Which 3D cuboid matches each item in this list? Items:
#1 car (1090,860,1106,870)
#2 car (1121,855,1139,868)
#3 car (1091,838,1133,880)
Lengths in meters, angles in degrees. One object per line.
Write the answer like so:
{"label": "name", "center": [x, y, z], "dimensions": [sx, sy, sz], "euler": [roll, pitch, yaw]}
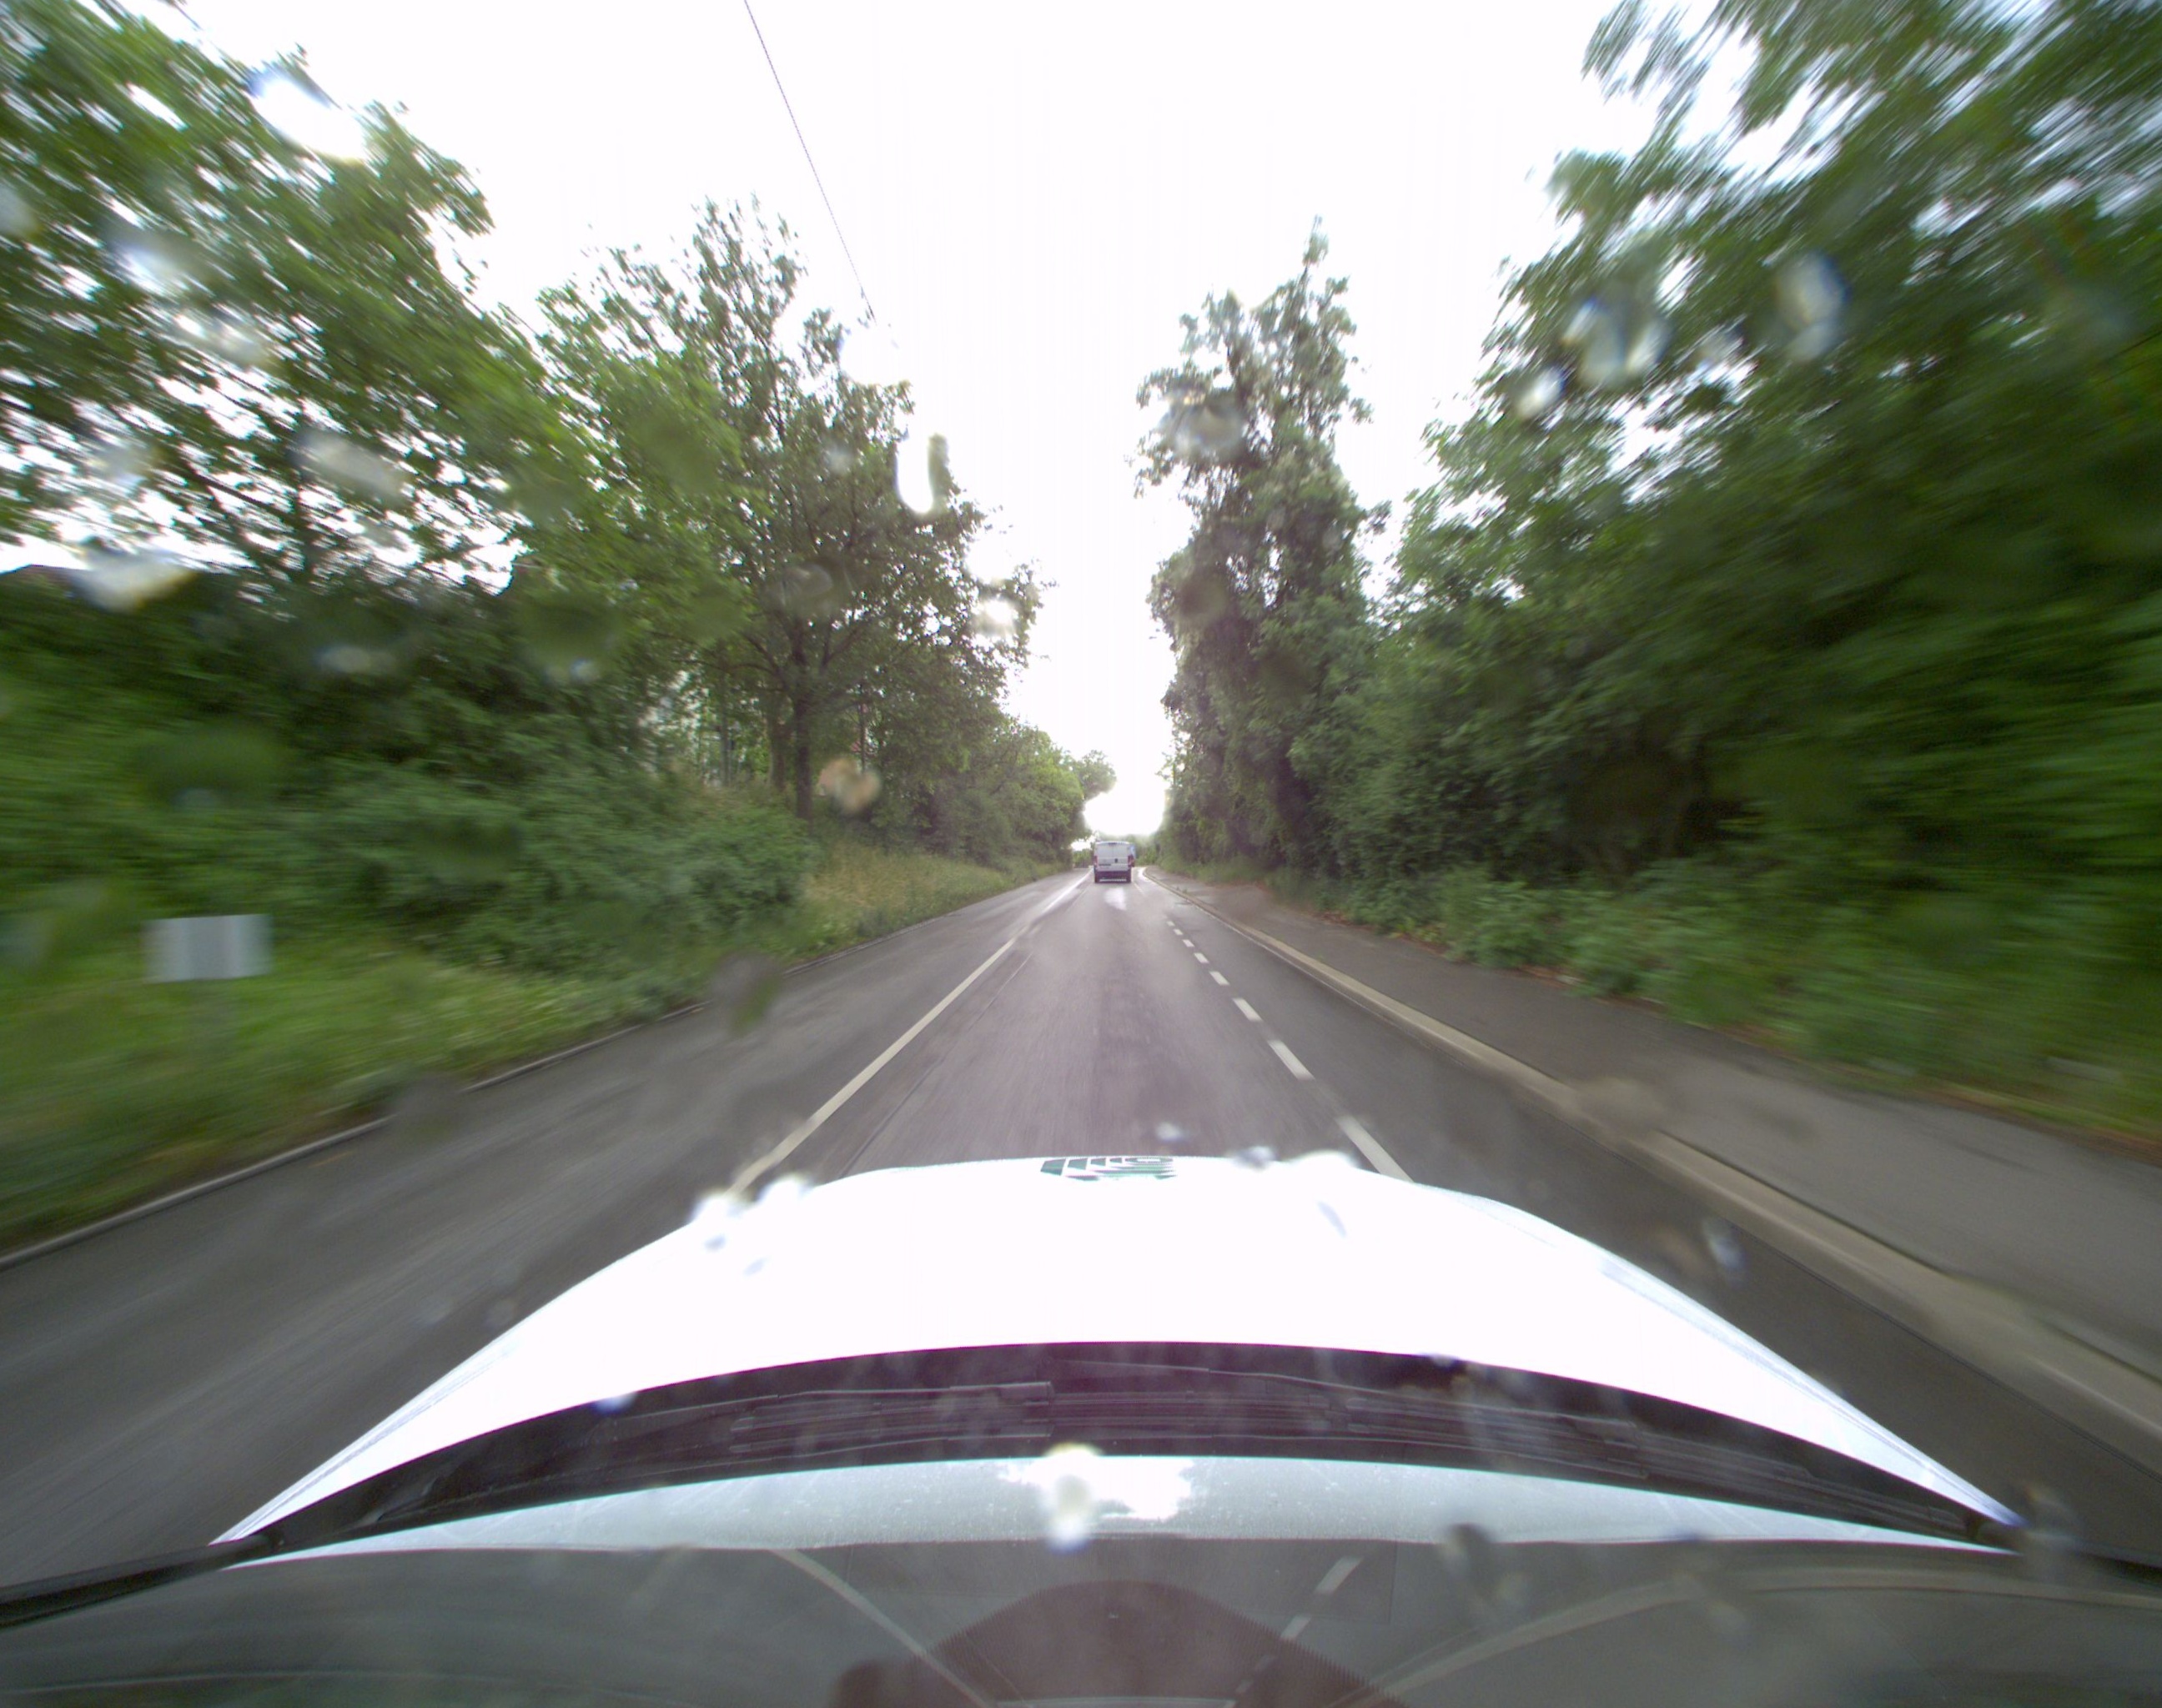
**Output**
{"label": "car", "center": [3.142, 2.065, 153.826], "dimensions": [2.111, 1.711, 4.696], "euler": [0, 0, -11]}
{"label": "car", "center": [6.916, 1.014, 115.494], "dimensions": [2.230, 1.804, 4.714], "euler": [0, 0, 1]}
{"label": "car", "center": [1.756, 0.281, 46.070], "dimensions": [2.229, 2.213, 4.715], "euler": [0, 0, 2]}
